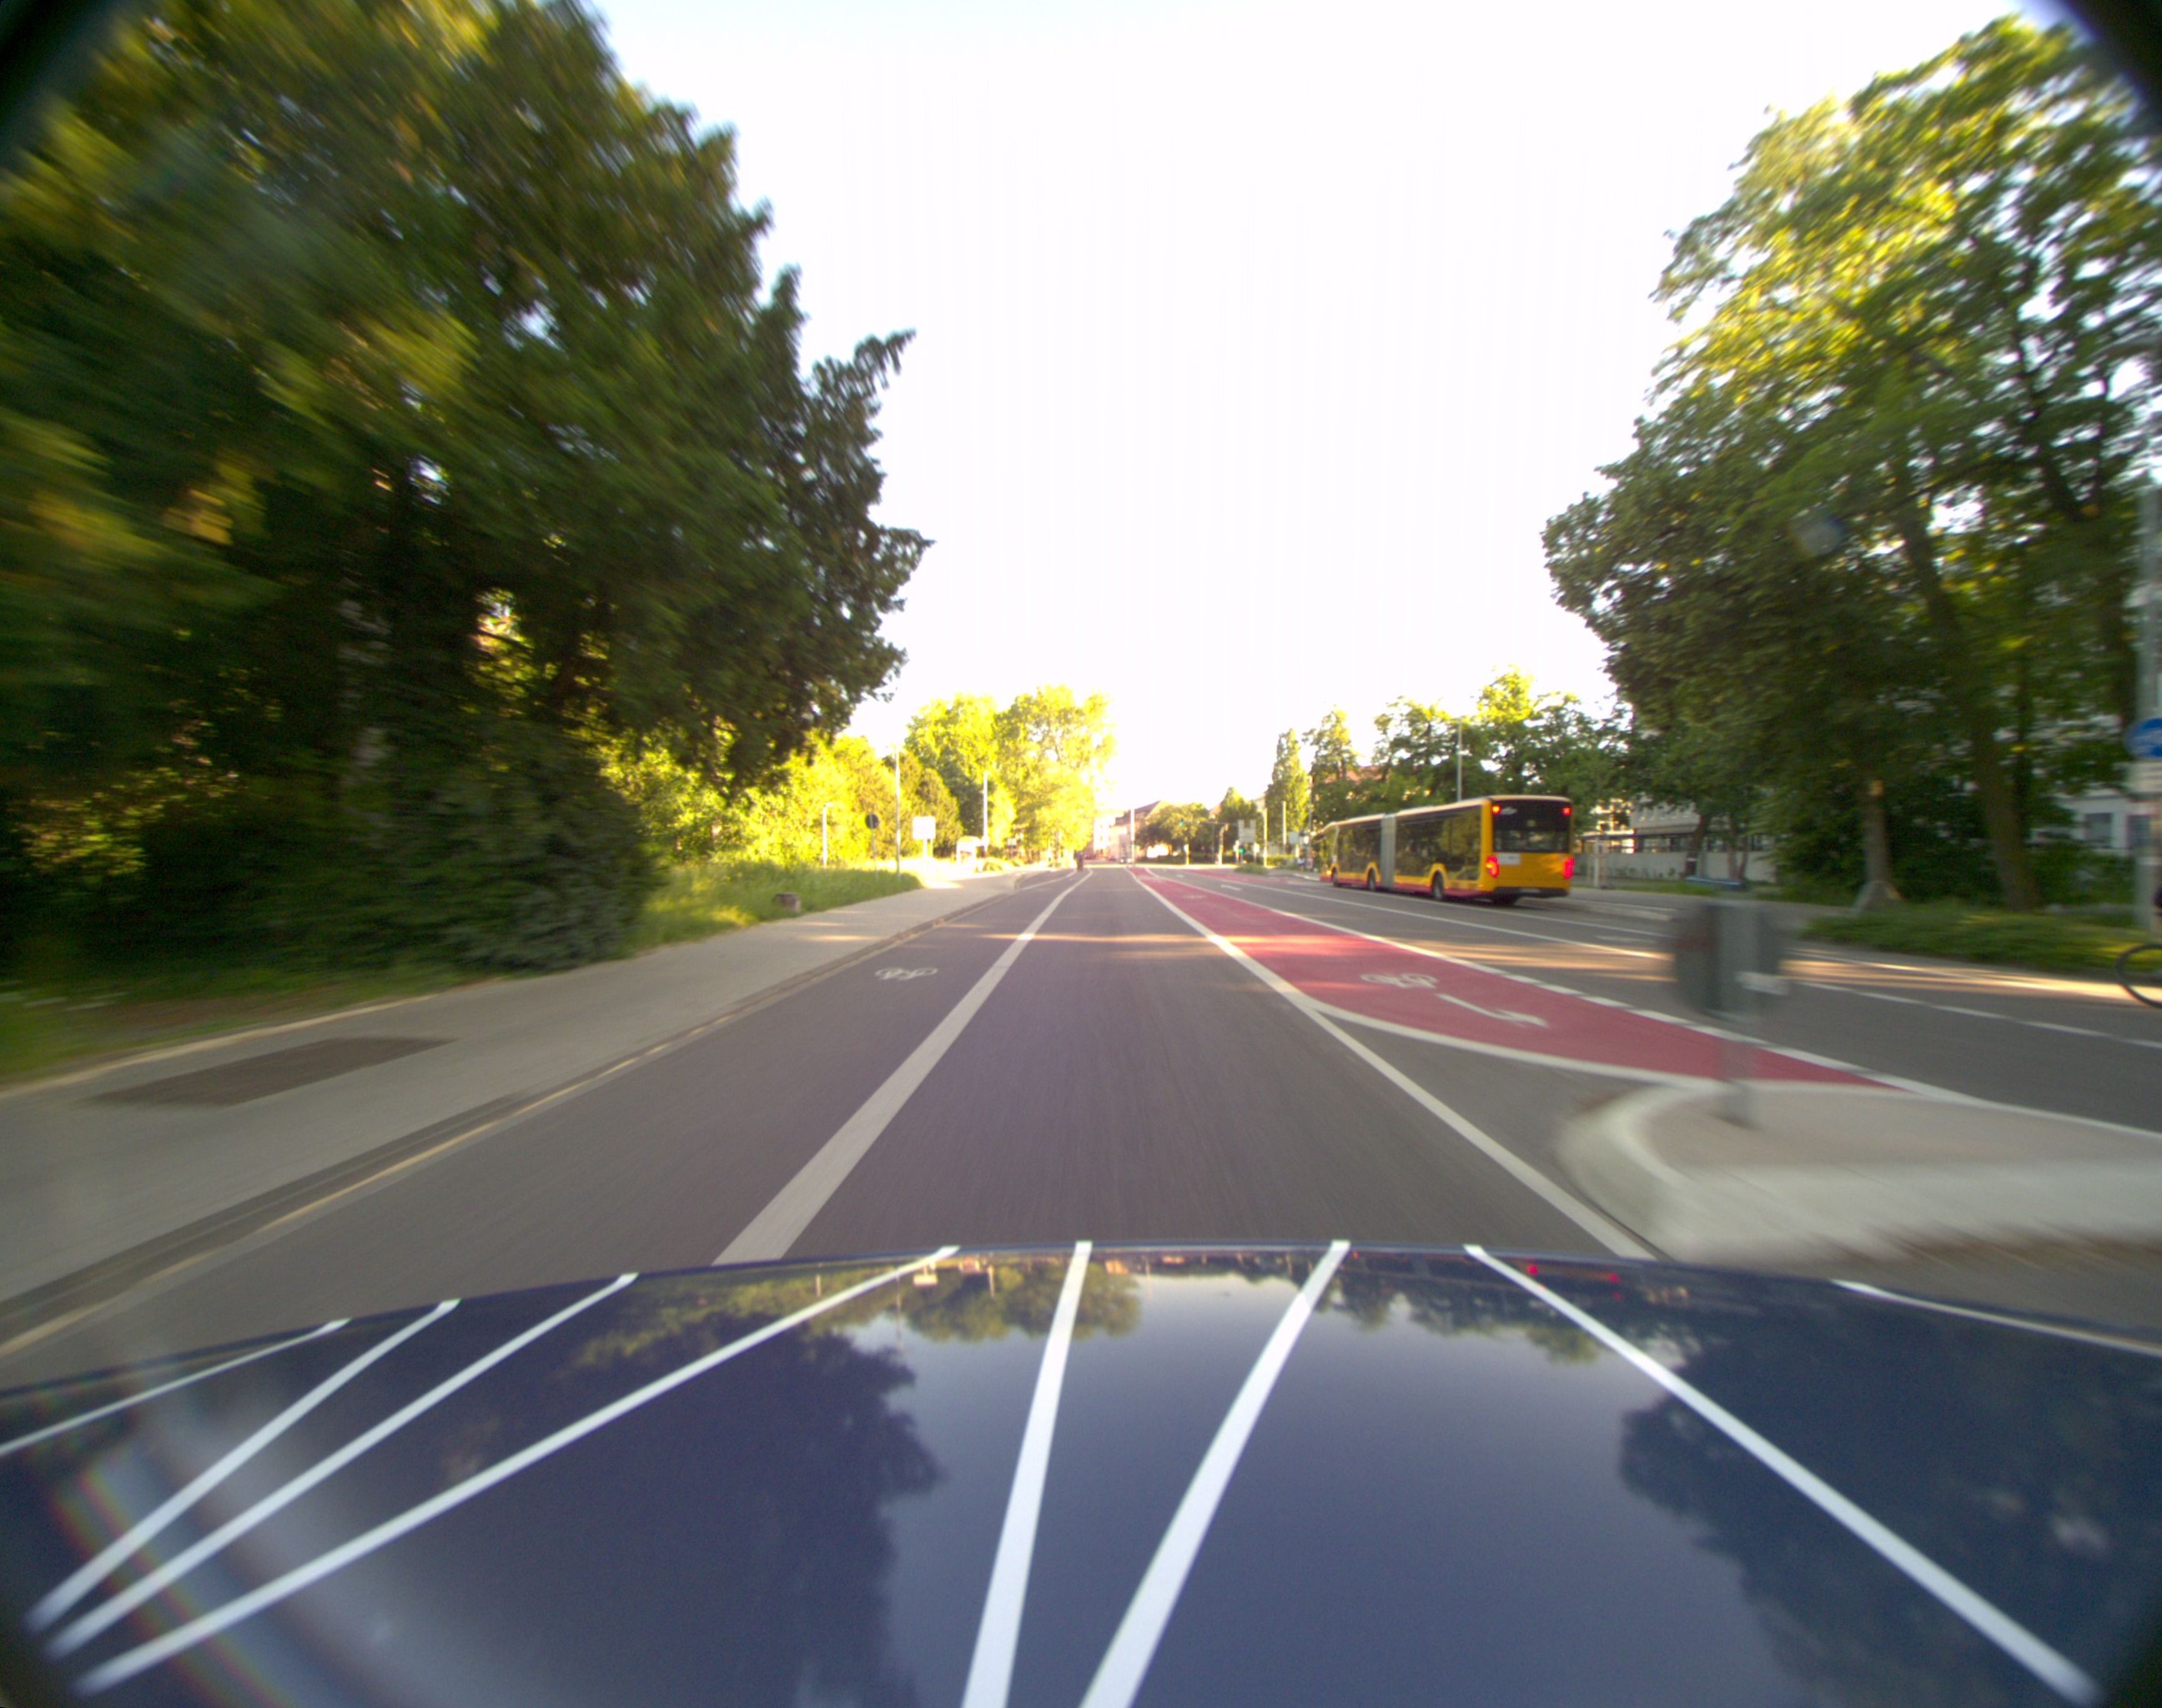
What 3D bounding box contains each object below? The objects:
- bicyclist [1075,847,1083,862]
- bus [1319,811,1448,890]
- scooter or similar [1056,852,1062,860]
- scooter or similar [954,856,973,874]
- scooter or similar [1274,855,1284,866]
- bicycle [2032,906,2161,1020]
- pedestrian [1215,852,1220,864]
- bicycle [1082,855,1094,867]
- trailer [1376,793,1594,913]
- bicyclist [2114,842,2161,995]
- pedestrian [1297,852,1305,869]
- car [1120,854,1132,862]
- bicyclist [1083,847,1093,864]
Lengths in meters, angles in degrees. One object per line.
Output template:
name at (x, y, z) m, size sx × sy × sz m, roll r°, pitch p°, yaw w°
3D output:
bicyclist at (-0.217, 0.033, 73.819) m, size 0.695 × 1.493 × 0.892 m, roll 0°, pitch 1°, yaw -2°
bus at (13.673, -0.167, 35.312) m, size 2.847 × 3.178 × 8.600 m, roll 0°, pitch 0°, yaw 2°
scooter or similar at (-3.744, 0.297, 127.879) m, size 0.794 × 1.248 × 1.836 m, roll 4°, pitch 1°, yaw 1°
scooter or similar at (-8.218, 0.731, 53.368) m, size 0.722 × 1.240 × 1.330 m, roll 0°, pitch 0°, yaw 24°
scooter or similar at (22.625, 0.721, 86.758) m, size 0.693 × 1.286 × 1.499 m, roll 1°, pitch 1°, yaw 30°
bicycle at (11.435, 1.094, 7.645) m, size 2.130 × 1.089 × 0.896 m, roll -1°, pitch -1°, yaw 28°
pedestrian at (20.473, 0.594, 113.818) m, size 0.691 × 1.672 × 0.681 m, roll 0°, pitch 1°, yaw 9°
bicycle at (0.645, 0.631, 68.794) m, size 0.694 × 1.089 × 2.138 m, roll 0°, pitch 0°, yaw 12°
trailer at (13.305, -0.068, 26.271) m, size 2.861 × 3.336 × 9.363 m, roll -2°, pitch 1°, yaw 3°
bicyclist at (11.456, 0.643, 7.661) m, size 0.879 × 1.557 × 0.864 m, roll -3°, pitch -2°, yaw 27°
pedestrian at (19.885, 0.621, 68.591) m, size 0.452 × 1.525 × 0.571 m, roll 2°, pitch 1°, yaw -3°
car at (7.509, 0.671, 128.047) m, size 1.722 × 1.409 × 4.526 m, roll 0°, pitch 0°, yaw 0°
bicyclist at (0.644, 0.117, 68.741) m, size 0.694 × 1.482 × 0.801 m, roll 0°, pitch 1°, yaw 12°
